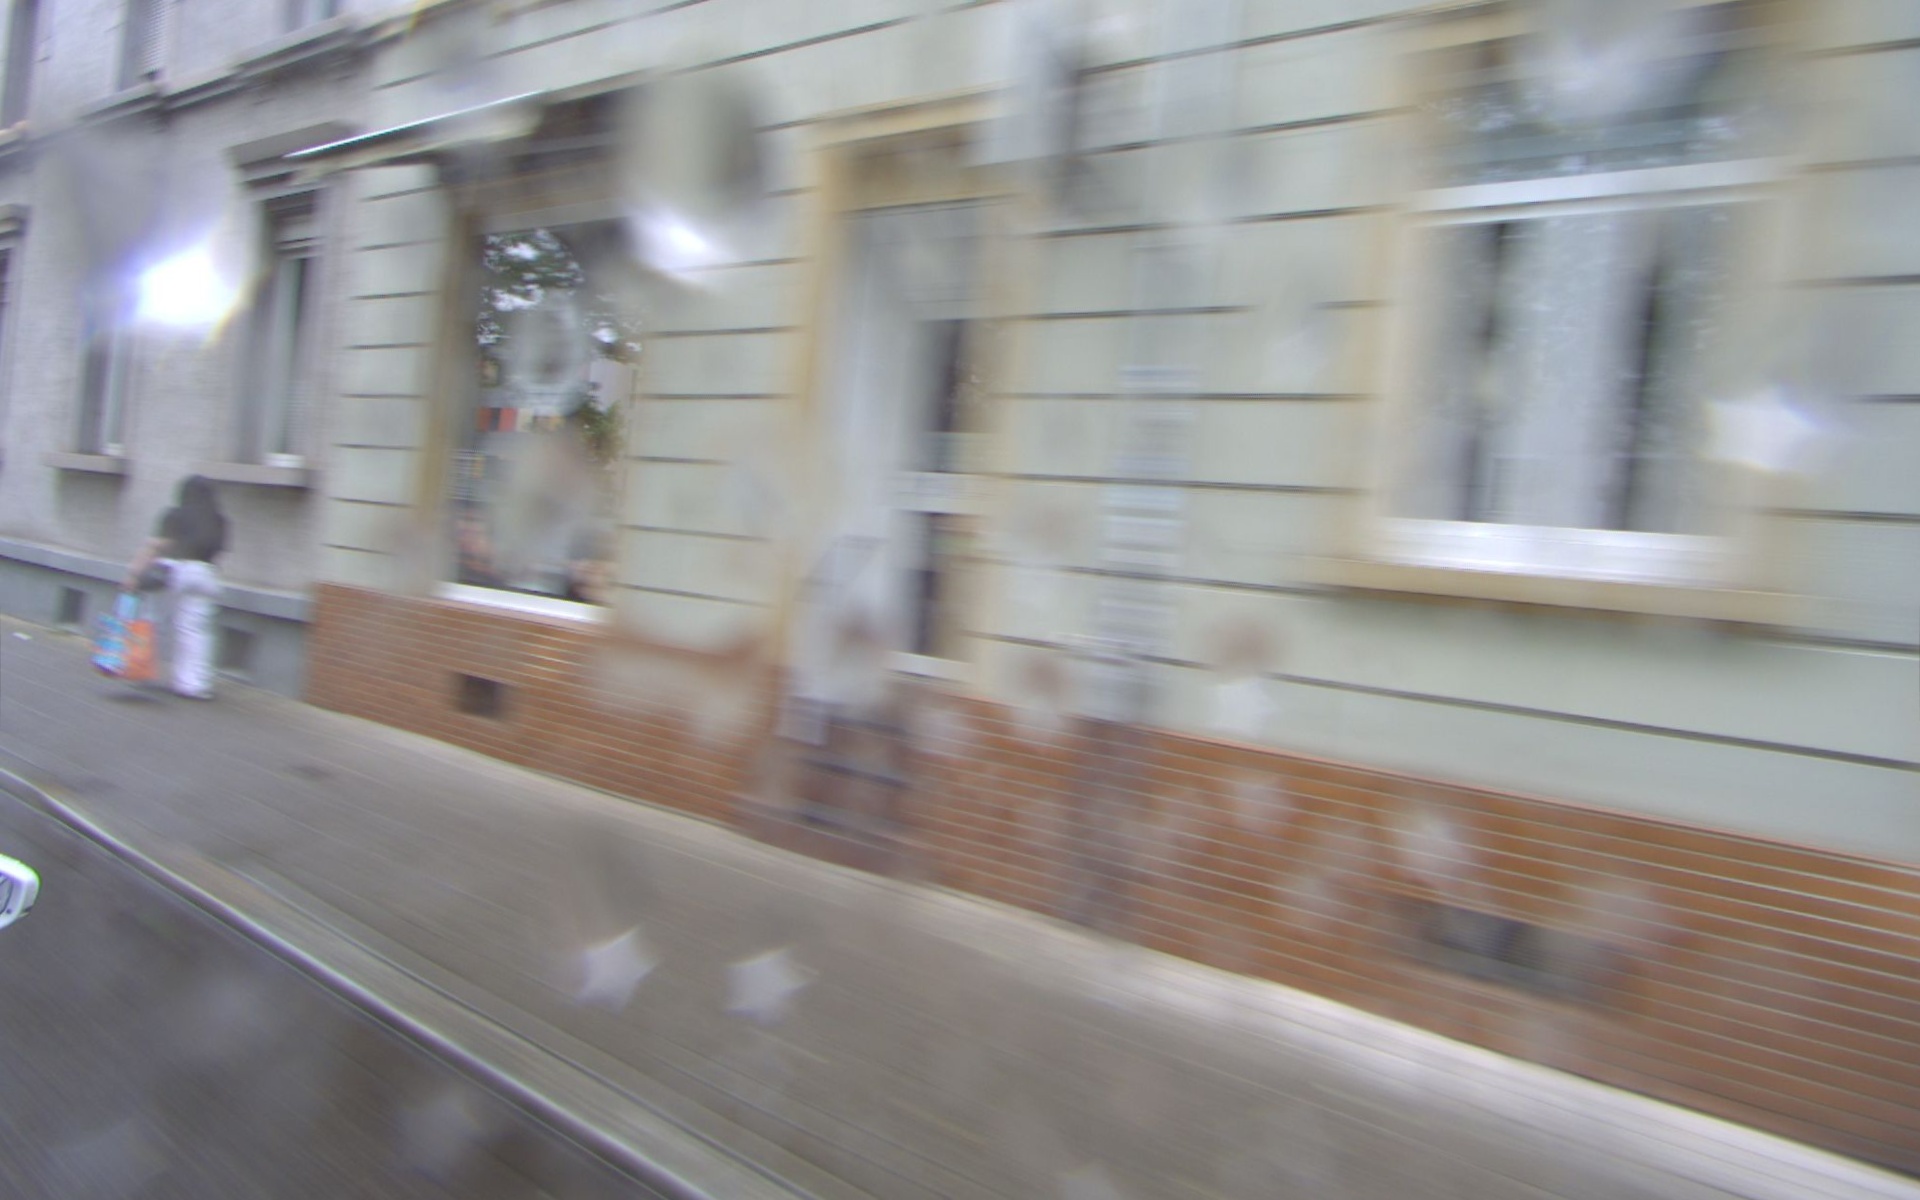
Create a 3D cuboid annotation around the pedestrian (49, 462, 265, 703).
[{"bbox_3d":[-5.735,-0.140,7.191,1.089,1.532,0.840,7,4,31],"label":"pedestrian"}]
